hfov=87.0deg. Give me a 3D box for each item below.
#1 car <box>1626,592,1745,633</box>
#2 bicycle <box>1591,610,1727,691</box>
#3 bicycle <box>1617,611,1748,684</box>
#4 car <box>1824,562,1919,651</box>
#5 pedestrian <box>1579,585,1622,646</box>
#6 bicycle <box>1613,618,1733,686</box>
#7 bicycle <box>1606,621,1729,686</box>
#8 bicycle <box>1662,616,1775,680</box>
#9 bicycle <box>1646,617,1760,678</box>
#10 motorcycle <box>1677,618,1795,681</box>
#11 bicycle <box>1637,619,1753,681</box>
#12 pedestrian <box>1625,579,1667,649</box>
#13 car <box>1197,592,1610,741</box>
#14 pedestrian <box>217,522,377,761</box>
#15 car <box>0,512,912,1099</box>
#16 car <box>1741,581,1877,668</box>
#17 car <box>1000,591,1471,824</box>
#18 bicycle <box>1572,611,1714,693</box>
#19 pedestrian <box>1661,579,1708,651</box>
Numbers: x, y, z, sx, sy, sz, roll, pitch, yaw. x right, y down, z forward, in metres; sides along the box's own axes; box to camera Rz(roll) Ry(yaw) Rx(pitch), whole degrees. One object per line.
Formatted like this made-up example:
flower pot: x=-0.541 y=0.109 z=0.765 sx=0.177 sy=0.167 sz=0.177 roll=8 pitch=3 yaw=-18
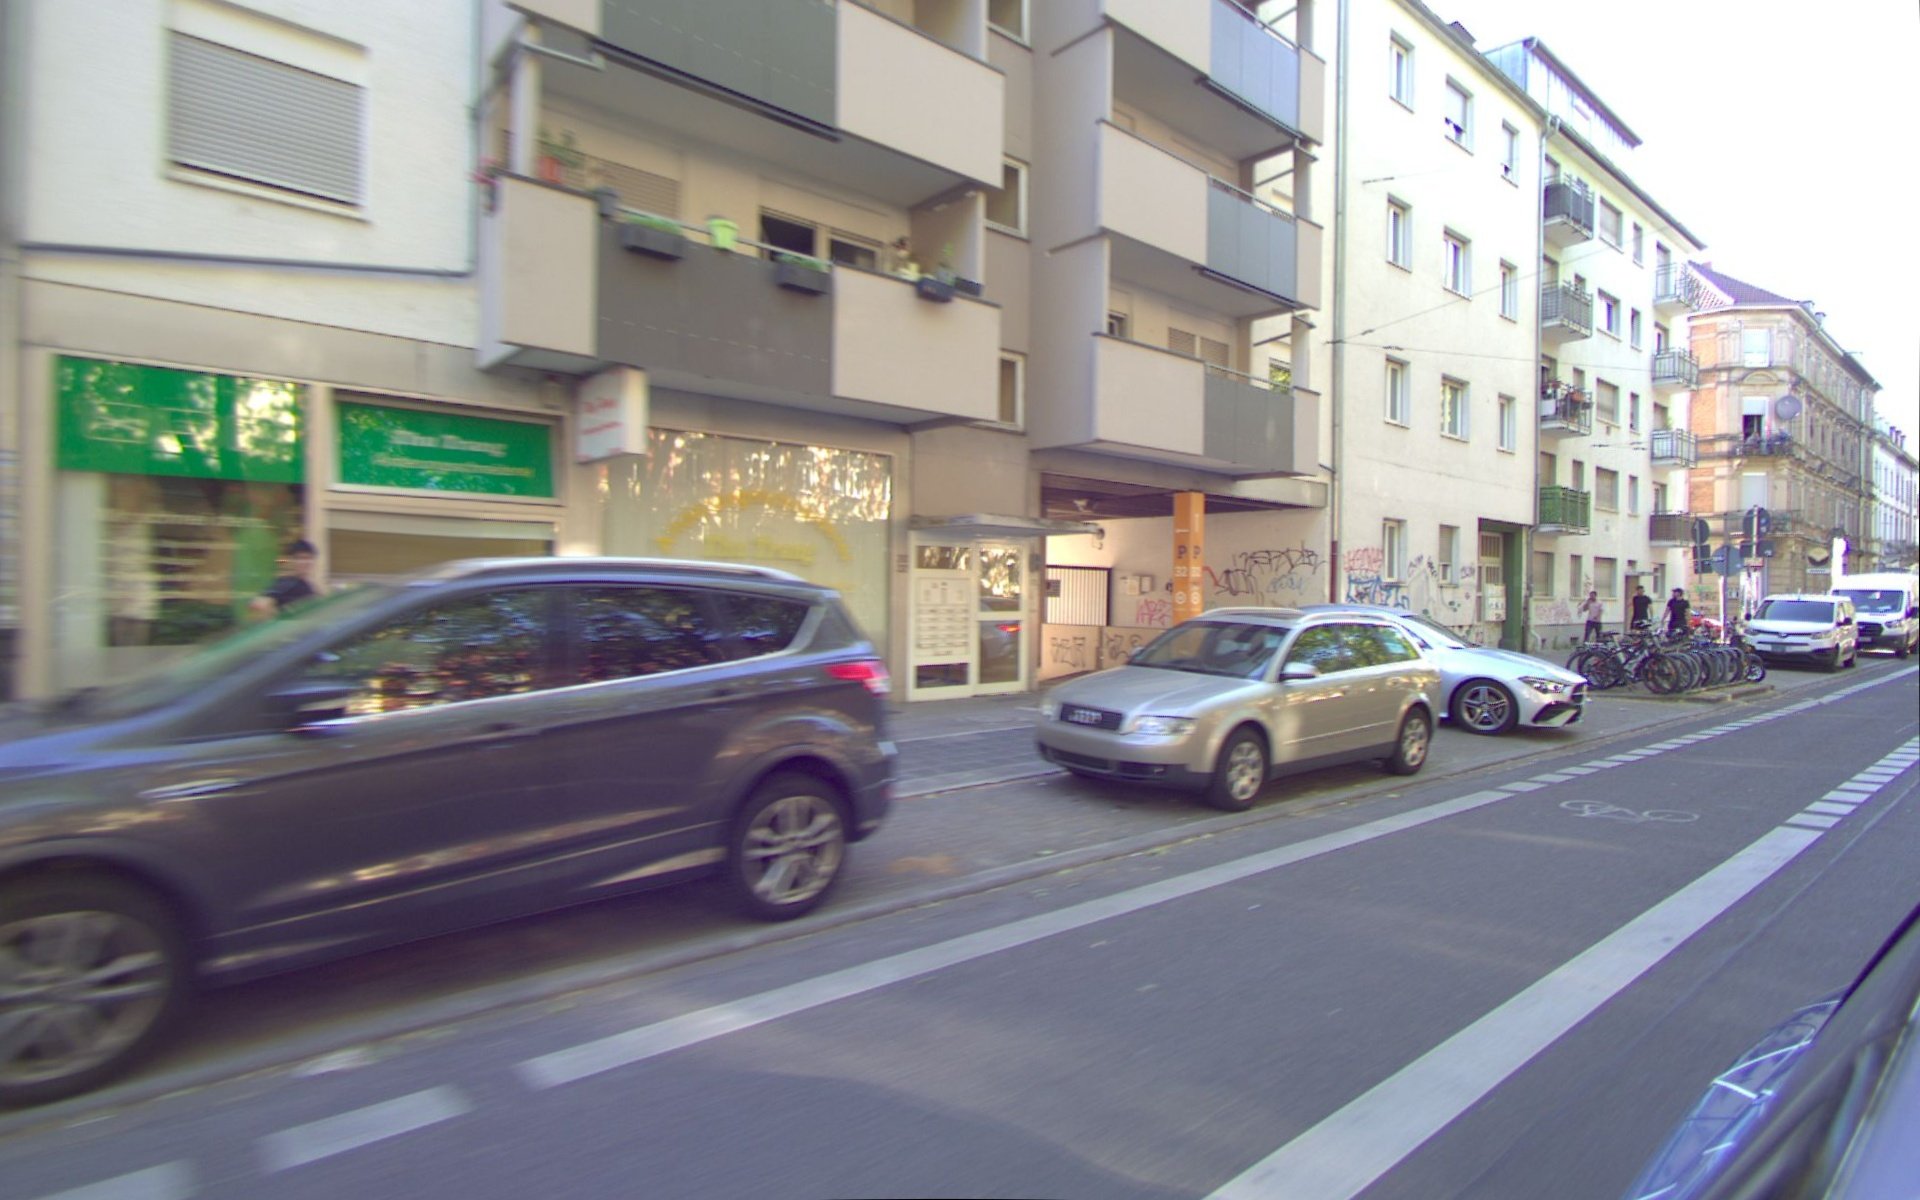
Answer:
car: x=29.957 y=0.497 z=41.855 sx=1.757 sy=1.594 sz=3.659 roll=-1 pitch=0 yaw=-38
bicycle: x=11.908 y=0.827 z=17.301 sx=0.449 sy=1.206 sz=1.827 roll=0 pitch=3 yaw=-40
bicycle: x=13.118 y=0.832 z=18.417 sx=0.692 sy=1.162 sz=1.798 roll=0 pitch=3 yaw=-40
car: x=29.052 y=0.156 z=31.712 sx=5.982 sy=2.527 sz=2.153 roll=0 pitch=1 yaw=-41
pedestrian: x=17.986 y=0.420 z=28.424 sx=0.916 sy=1.598 sz=0.634 roll=-1 pitch=6 yaw=-39
bicycle: x=12.632 y=0.897 z=17.977 sx=0.449 sy=1.033 sz=1.656 roll=0 pitch=3 yaw=-40
bicycle: x=12.280 y=0.904 z=17.605 sx=0.449 sy=0.978 sz=1.656 roll=0 pitch=3 yaw=-40
bicycle: x=14.625 y=0.907 z=19.545 sx=0.449 sy=1.068 sz=1.656 roll=0 pitch=3 yaw=-40
bicycle: x=14.133 y=0.887 z=19.282 sx=0.449 sy=0.999 sz=1.656 roll=0 pitch=3 yaw=-40
motorcycle: x=15.329 y=0.946 z=20.055 sx=0.604 sy=1.093 sz=1.829 roll=1 pitch=2 yaw=-17
bicycle: x=13.664 y=0.903 z=18.856 sx=0.449 sy=0.999 sz=1.656 roll=0 pitch=3 yaw=-40
pedestrian: x=18.652 y=0.368 z=27.521 sx=1.062 sy=1.845 sz=0.626 roll=-1 pitch=2 yaw=-39
car: x=5.623 y=0.705 z=13.186 sx=4.607 sy=1.455 sz=1.838 roll=3 pitch=2 yaw=39
pedestrian: x=-5.087 y=0.291 z=7.804 sx=0.708 sy=1.742 sz=0.757 roll=1 pitch=0 yaw=7
car: x=-2.403 y=0.586 z=4.528 sx=4.209 sy=1.726 sz=1.769 roll=0 pitch=1 yaw=-42
car: x=21.107 y=0.522 z=25.103 sx=4.276 sy=1.841 sz=1.863 roll=-1 pitch=5 yaw=-41
car: x=2.584 y=0.713 z=8.864 sx=4.431 sy=1.544 sz=1.728 roll=0 pitch=1 yaw=-39
bicycle: x=11.492 y=0.840 z=17.080 sx=0.449 sy=1.206 sz=1.896 roll=0 pitch=3 yaw=-40
pedestrian: x=19.064 y=0.375 z=26.630 sx=1.062 sy=1.845 sz=0.711 roll=-1 pitch=2 yaw=-39
